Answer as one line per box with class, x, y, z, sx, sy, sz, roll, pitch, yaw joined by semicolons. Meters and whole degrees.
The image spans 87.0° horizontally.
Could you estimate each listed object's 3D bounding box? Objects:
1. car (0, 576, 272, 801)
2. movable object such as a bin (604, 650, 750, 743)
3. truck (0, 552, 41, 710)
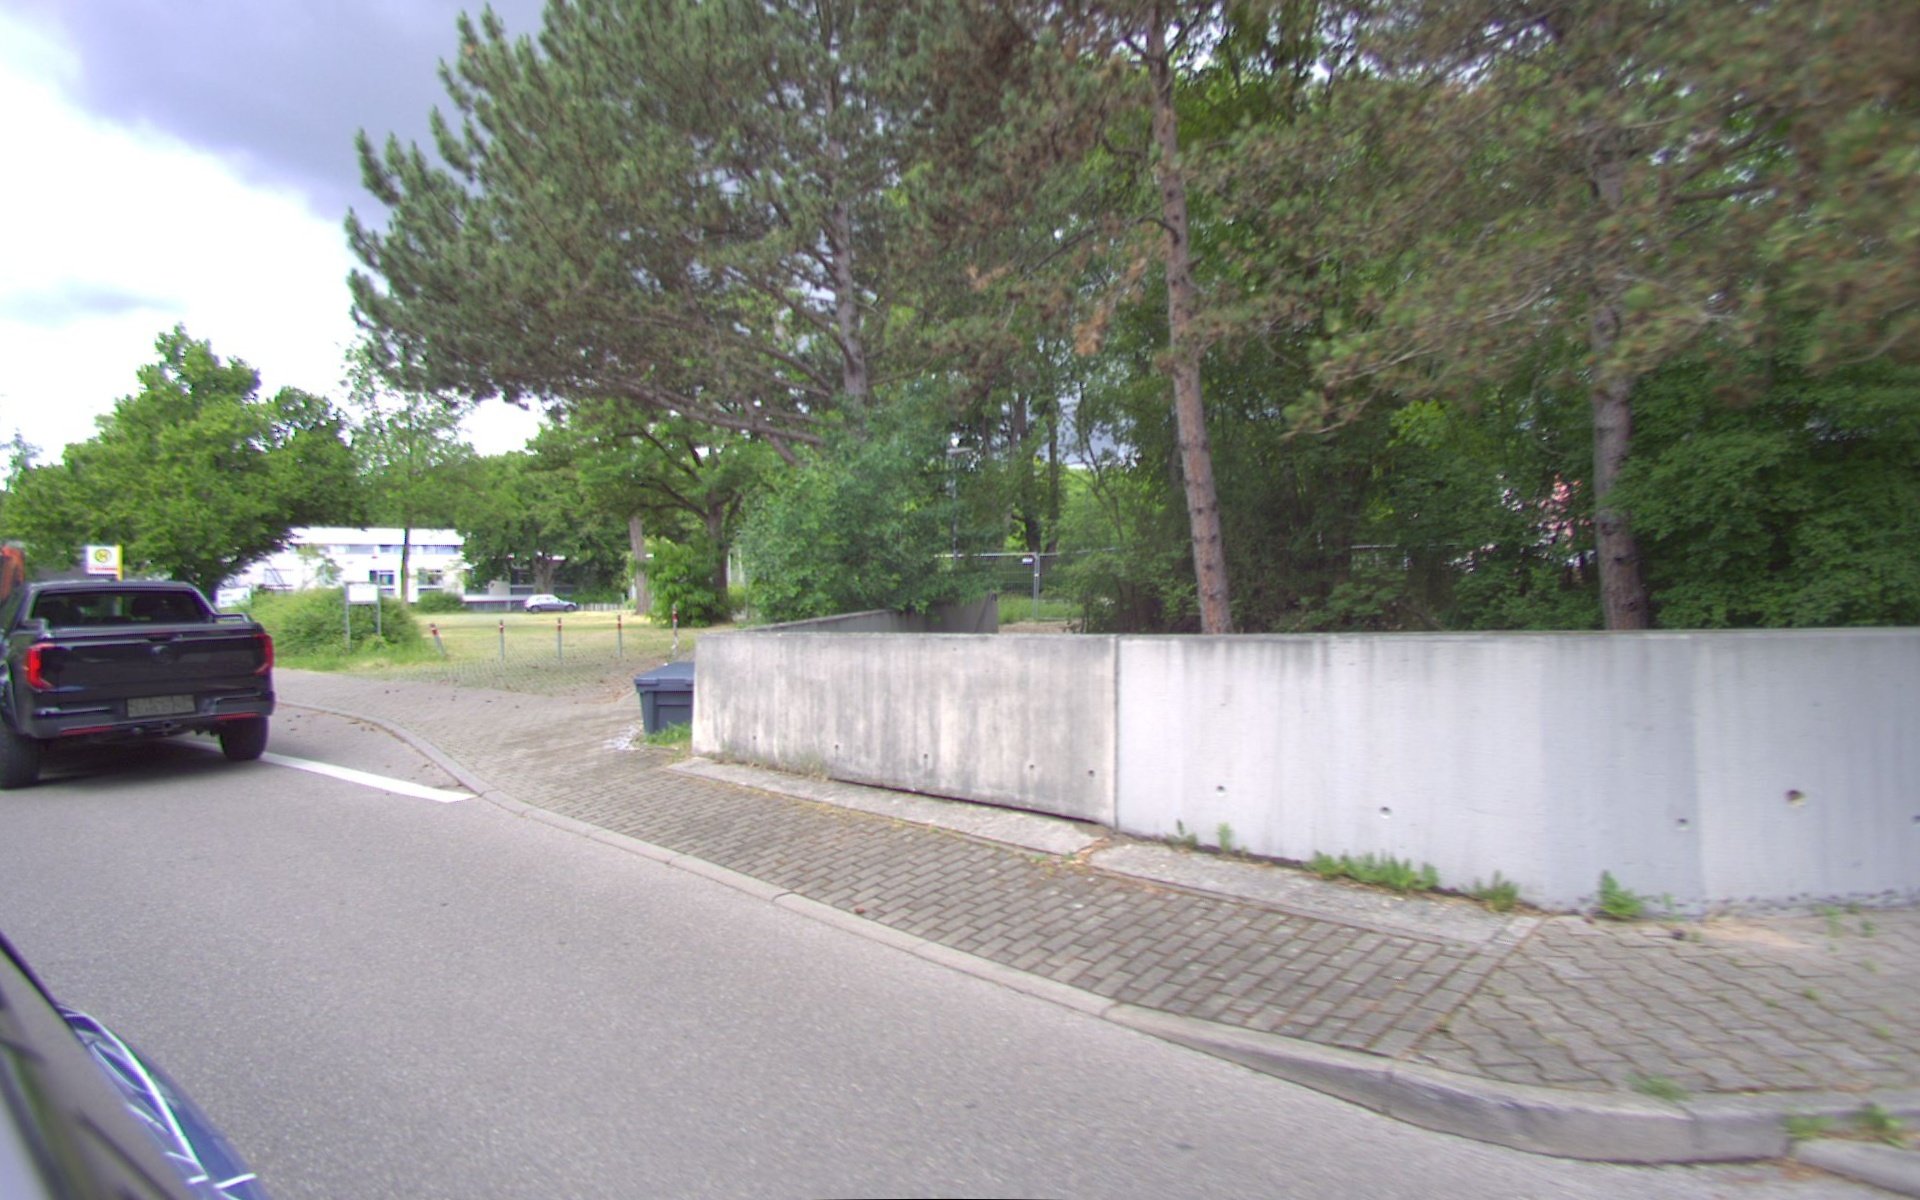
car;-8.885;0.722;10.243;5.335;1.749;1.972;-1;0;42
movable object such as a bin;-2.753;0.928;9.993;1.036;0.766;1.146;-1;2;6
truck;-17.883;0.598;17.539;6.019;2.488;2.297;-2;1;43
